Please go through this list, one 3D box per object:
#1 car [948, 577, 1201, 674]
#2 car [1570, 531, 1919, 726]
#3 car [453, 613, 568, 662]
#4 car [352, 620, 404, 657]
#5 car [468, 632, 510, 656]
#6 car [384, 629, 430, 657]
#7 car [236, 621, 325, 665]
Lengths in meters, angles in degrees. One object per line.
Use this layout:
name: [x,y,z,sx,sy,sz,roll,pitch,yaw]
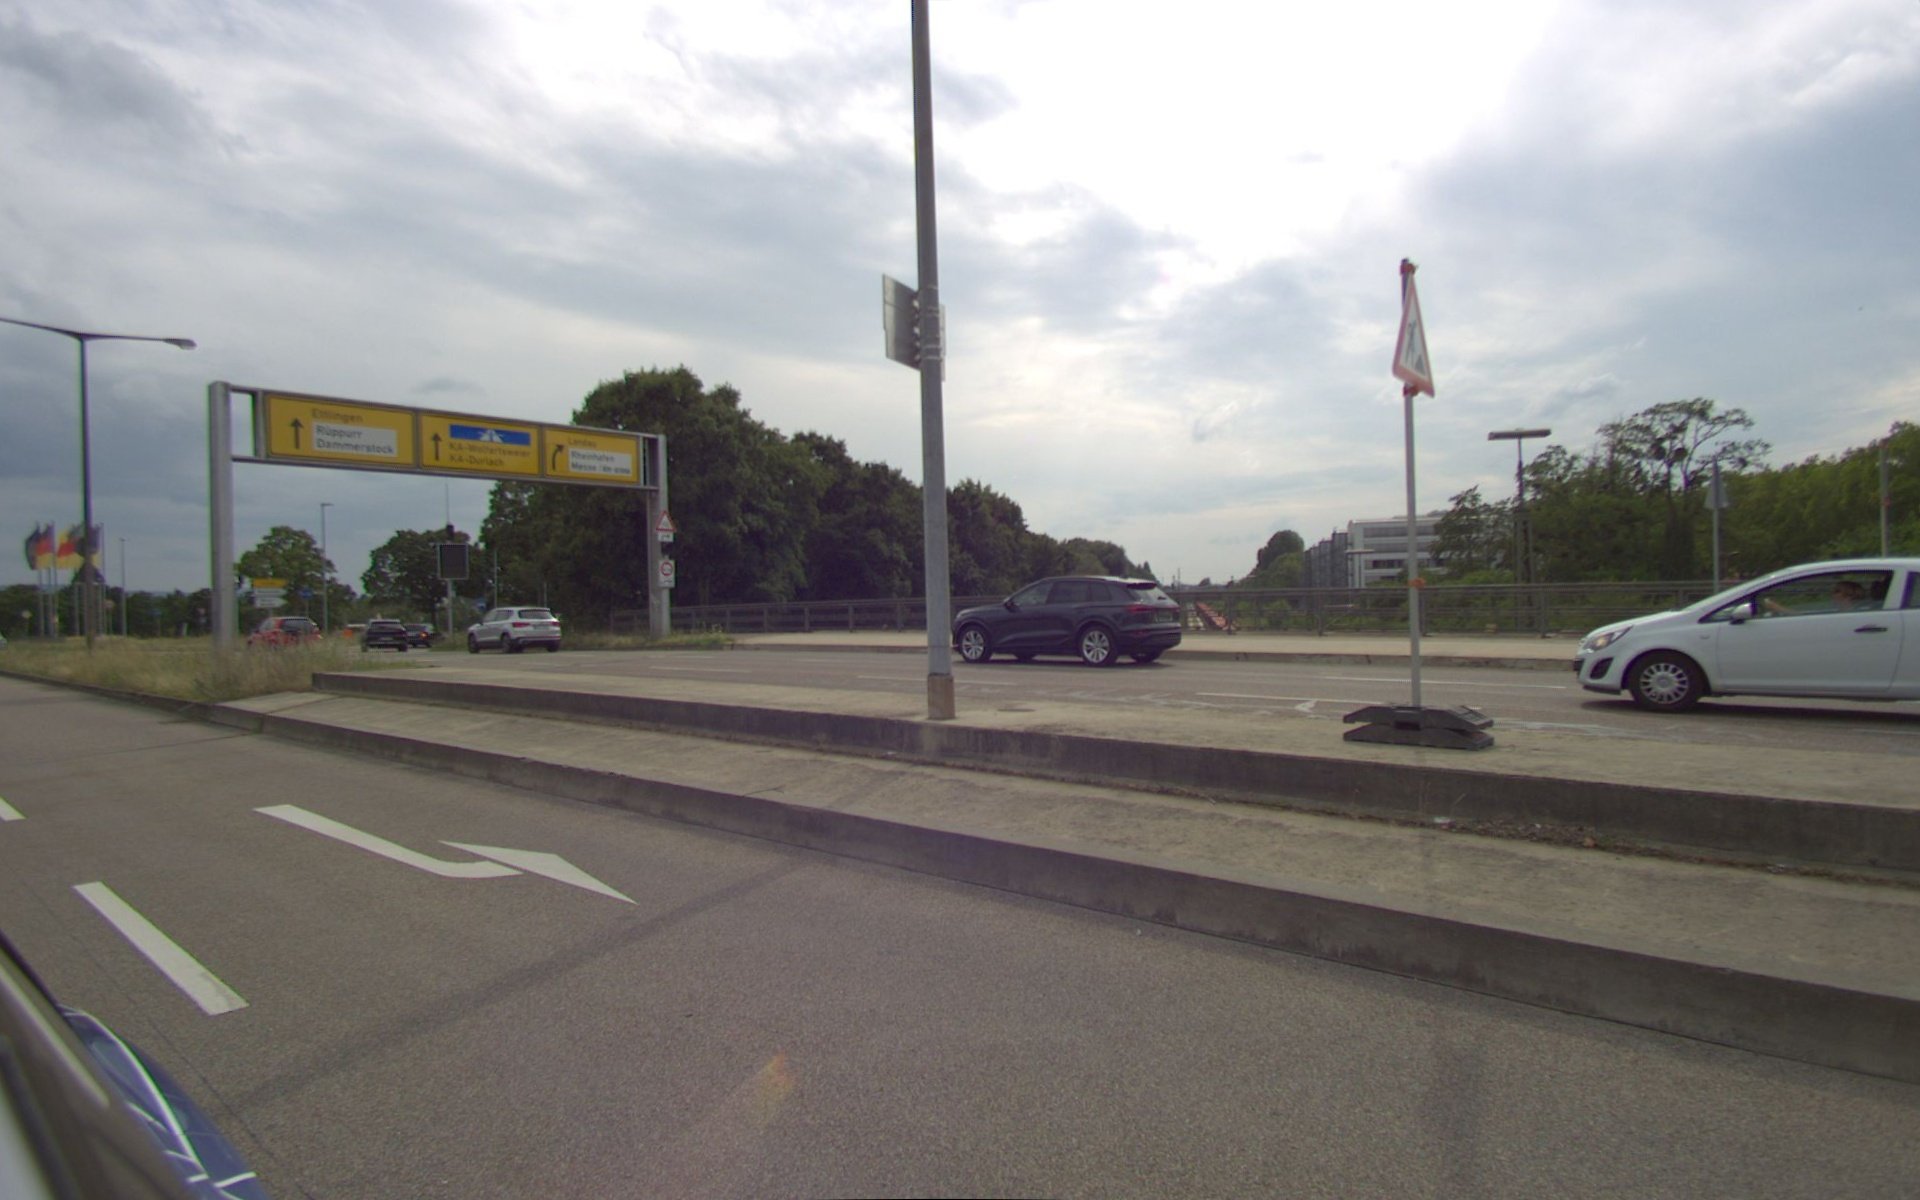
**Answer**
car: [2.099,0.448,19.404,4.542,1.652,1.868,-1,0,40]
car: [8.381,0.231,9.595,4.214,1.652,1.868,-1,0,40]
car: [-15.487,1.243,34.755,4.450,1.543,1.868,-1,0,41]
car: [-28.375,1.909,49.259,1.861,1.619,4.772,-2,-2,-33]
car: [-33.658,3.133,72.404,1.794,1.619,3.905,2,-3,-11]
car: [-32.864,2.574,60.239,1.860,1.539,4.682,2,-4,-22]
car: [-26.017,1.607,38.718,3.912,1.543,1.706,-1,0,38]
